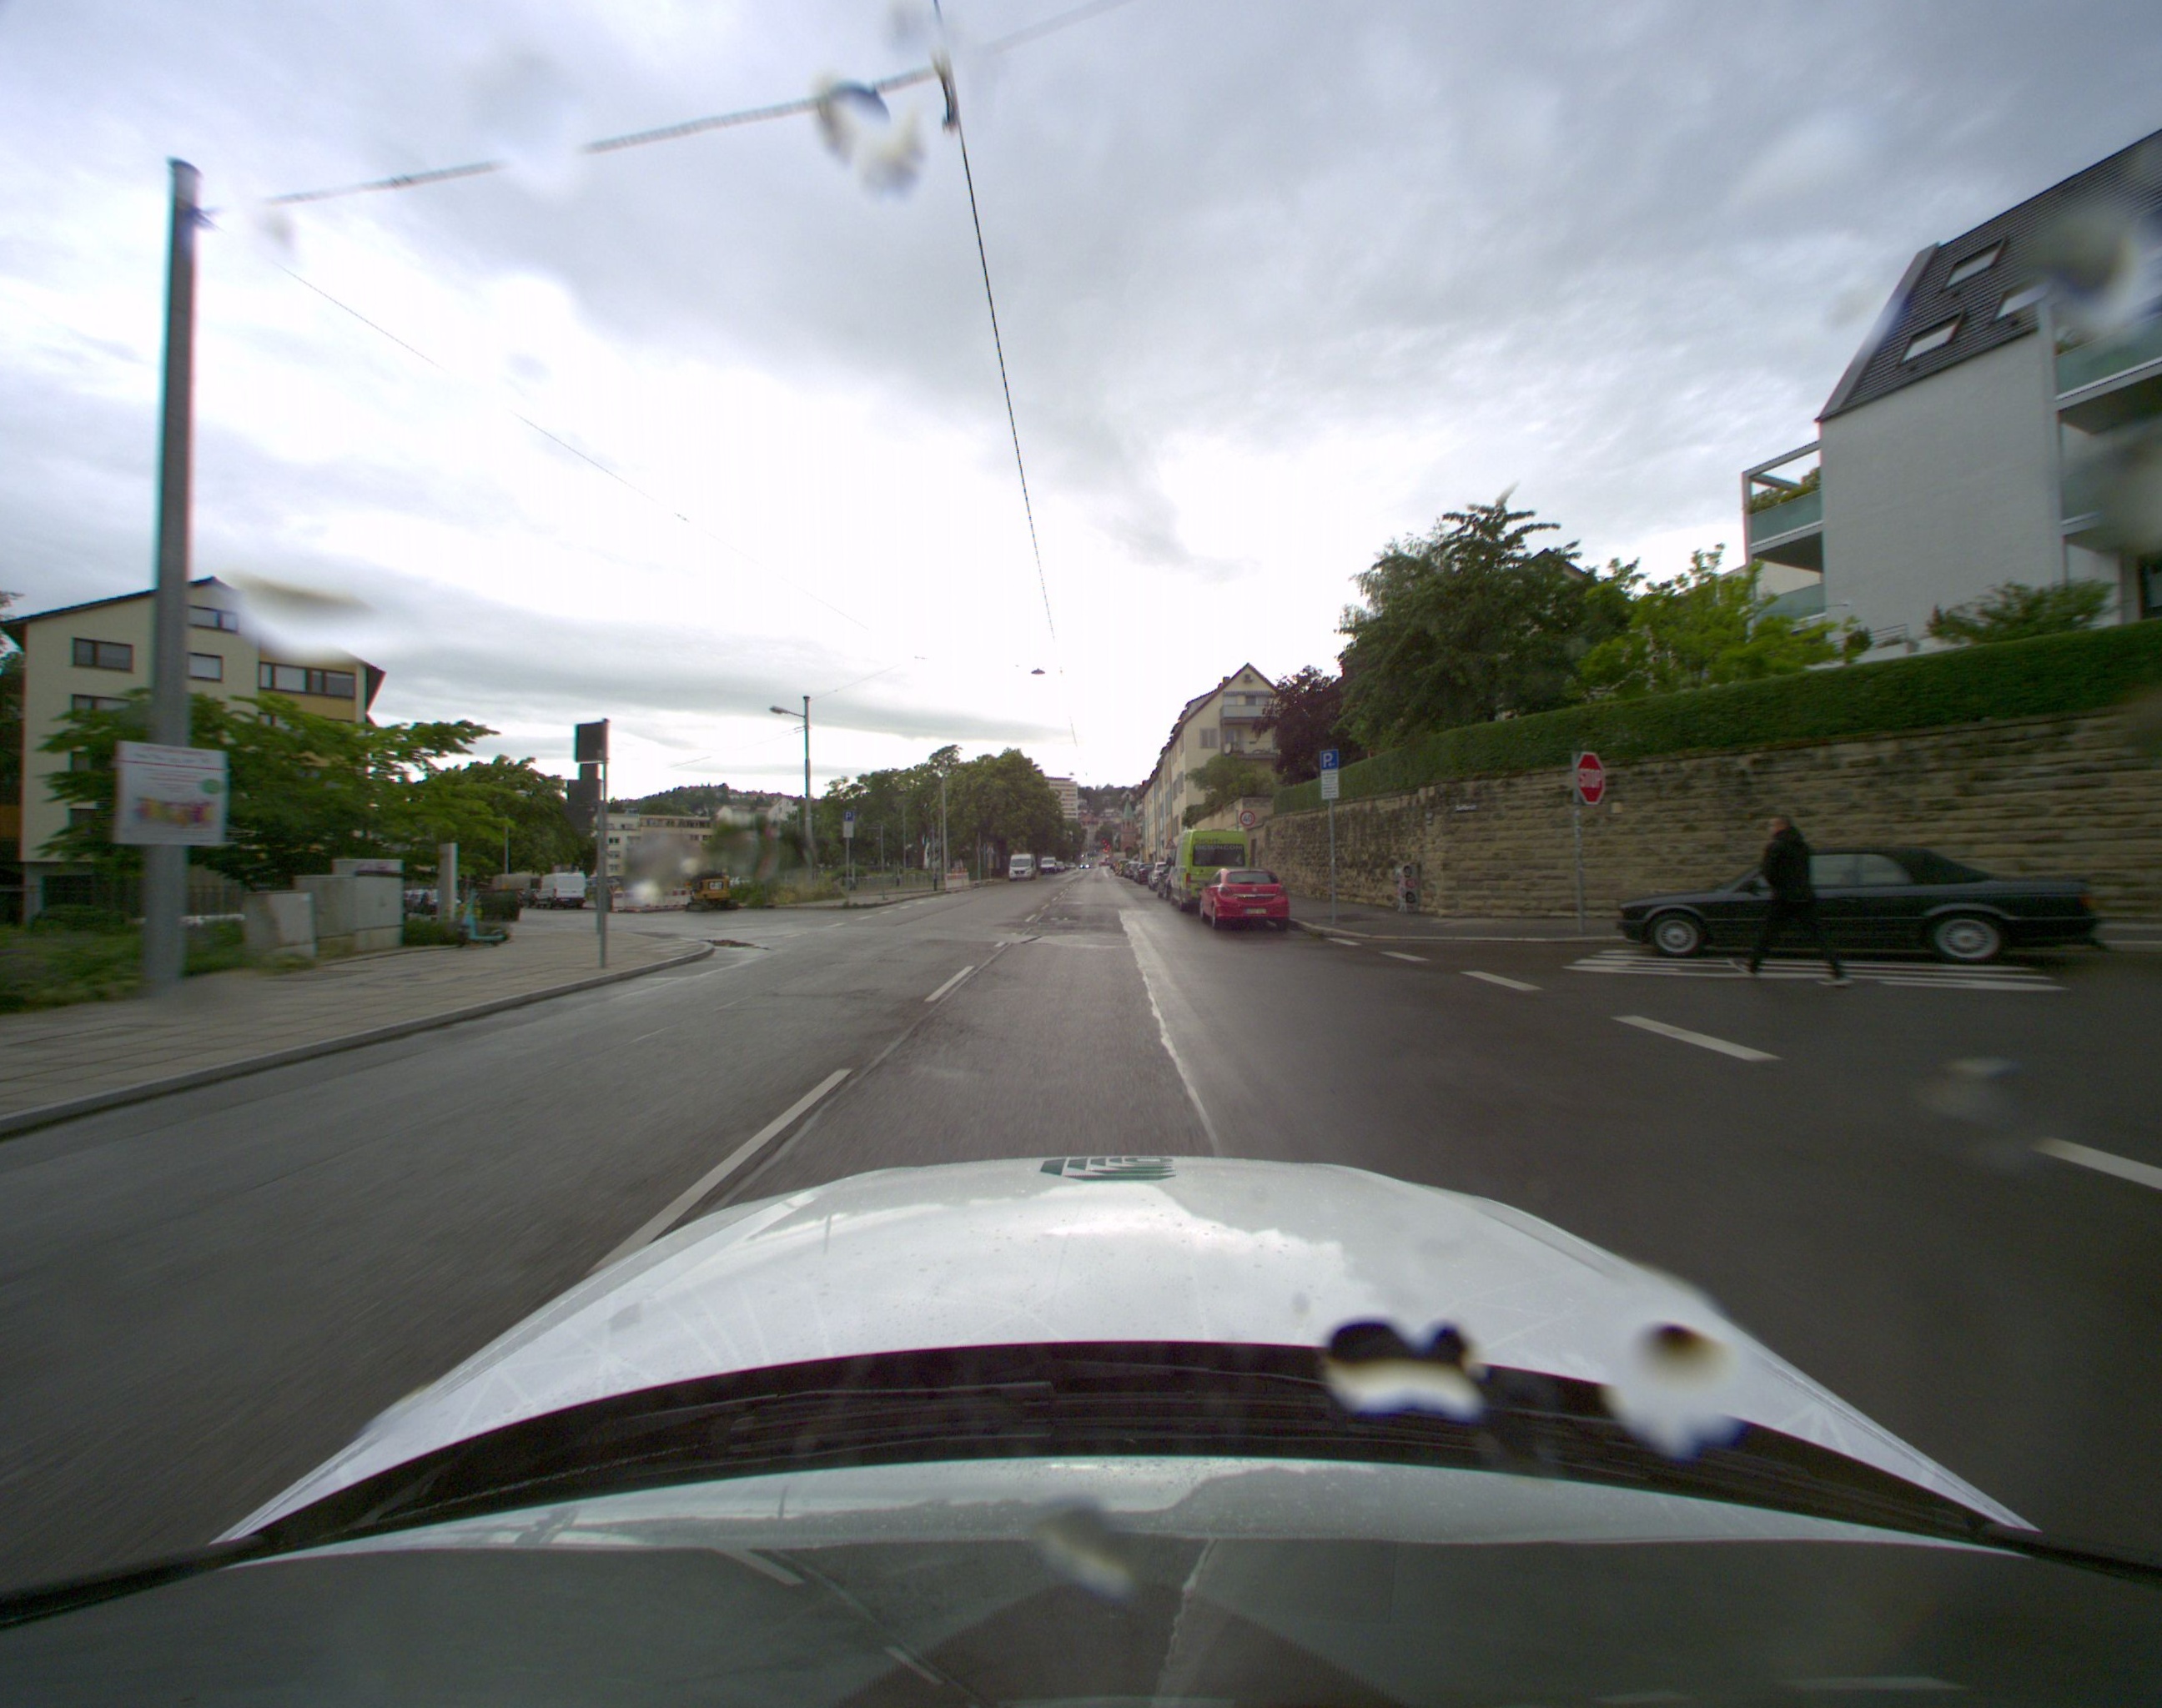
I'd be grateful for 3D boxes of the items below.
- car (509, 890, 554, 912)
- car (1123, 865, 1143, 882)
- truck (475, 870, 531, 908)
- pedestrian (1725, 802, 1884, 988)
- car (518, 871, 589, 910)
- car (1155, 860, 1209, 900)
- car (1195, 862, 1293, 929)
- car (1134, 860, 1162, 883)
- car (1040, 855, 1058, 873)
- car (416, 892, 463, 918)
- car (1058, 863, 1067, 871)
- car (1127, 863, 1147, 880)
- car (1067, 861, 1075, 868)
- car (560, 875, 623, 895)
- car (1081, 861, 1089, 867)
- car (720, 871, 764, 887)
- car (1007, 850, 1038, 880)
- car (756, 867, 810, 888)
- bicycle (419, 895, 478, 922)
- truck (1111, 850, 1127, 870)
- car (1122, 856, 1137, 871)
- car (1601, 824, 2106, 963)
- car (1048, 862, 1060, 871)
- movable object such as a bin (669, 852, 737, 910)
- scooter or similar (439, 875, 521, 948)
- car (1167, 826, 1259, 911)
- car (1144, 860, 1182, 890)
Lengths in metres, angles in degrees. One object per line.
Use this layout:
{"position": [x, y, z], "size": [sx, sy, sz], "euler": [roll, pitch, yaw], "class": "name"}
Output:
{"position": [-41.211, 3.512, 61.022], "size": [3.949, 1.510, 1.811], "euler": [-3, 0, 42], "class": "car"}
{"position": [5.057, 1.872, 79.338], "size": [1.710, 1.524, 4.000], "euler": [0, 0, 1], "class": "car"}
{"position": [-48.697, 2.983, 68.580], "size": [5.223, 2.931, 2.797], "euler": [-3, 0, 44], "class": "truck"}
{"position": [7.178, 0.385, 8.126], "size": [0.720, 1.715, 0.905], "euler": [-3, 0, 2], "class": "pedestrian"}
{"position": [-37.220, 2.579, 57.390], "size": [5.660, 2.413, 2.691], "euler": [-3, 0, 42], "class": "car"}
{"position": [3.964, 0.990, 32.598], "size": [1.683, 1.454, 4.235], "euler": [0, 0, 1], "class": "car"}
{"position": [3.850, 0.926, 19.865], "size": [1.714, 1.421, 4.205], "euler": [0, 0, 2], "class": "car"}
{"position": [4.490, 1.131, 54.808], "size": [1.623, 1.454, 3.759], "euler": [0, 0, 1], "class": "car"}
{"position": [-4.463, 1.395, 115.037], "size": [2.004, 2.487, 5.986], "euler": [-2, 0, 2], "class": "car"}
{"position": [-41.658, 3.301, 52.857], "size": [3.949, 1.510, 1.811], "euler": [-3, 0, 43], "class": "car"}
{"position": [-3.807, 2.745, 171.052], "size": [1.798, 1.450, 4.655], "euler": [-2, -1, -1], "class": "car"}
{"position": [5.063, 1.573, 73.949], "size": [1.553, 1.454, 3.759], "euler": [0, 0, 1], "class": "car"}
{"position": [-2.209, 2.375, 186.482], "size": [1.704, 1.450, 4.293], "euler": [-2, -1, 0], "class": "car"}
{"position": [-48.421, 3.076, 80.632], "size": [4.934, 1.626, 2.099], "euler": [-2, -3, -45], "class": "car"}
{"position": [0.964, 2.273, 187.968], "size": [1.799, 1.416, 4.382], "euler": [-1, -1, -1], "class": "car"}
{"position": [-37.055, 2.745, 89.027], "size": [1.777, 1.625, 4.024], "euler": [-2, -1, 43], "class": "car"}
{"position": [-5.427, 1.043, 76.134], "size": [2.223, 2.579, 6.537], "euler": [-3, 0, 0], "class": "car"}
{"position": [-29.995, 2.350, 81.987], "size": [1.975, 1.834, 4.721], "euler": [-2, -1, 43], "class": "car"}
{"position": [-26.892, 2.320, 34.649], "size": [1.801, 1.108, 0.711], "euler": [1, -2, -23], "class": "bicycle"}
{"position": [6.288, 1.063, 134.920], "size": [2.460, 3.172, 7.038], "euler": [-1, -1, 2], "class": "truck"}
{"position": [6.454, 1.251, 108.694], "size": [1.811, 1.924, 4.240], "euler": [-2, -1, 2], "class": "car"}
{"position": [9.223, 0.516, 10.217], "size": [4.223, 1.393, 1.763], "euler": [-5, -3, 43], "class": "car"}
{"position": [-4.252, 2.039, 130.458], "size": [1.677, 1.398, 3.910], "euler": [-2, -1, 0], "class": "car"}
{"position": [-17.430, 1.216, 37.401], "size": [1.679, 2.459, 5.228], "euler": [-1, -1, -38], "class": "movable object such as a bin"}
{"position": [-10.797, 1.003, 14.667], "size": [0.494, 1.248, 1.232], "euler": [0, -1, 2], "class": "scooter or similar"}
{"position": [4.147, 0.428, 26.626], "size": [2.197, 2.463, 6.082], "euler": [0, 0, 2], "class": "car"}
{"position": [4.402, 1.194, 44.138], "size": [1.683, 1.454, 4.234], "euler": [0, -4, 1], "class": "car"}
